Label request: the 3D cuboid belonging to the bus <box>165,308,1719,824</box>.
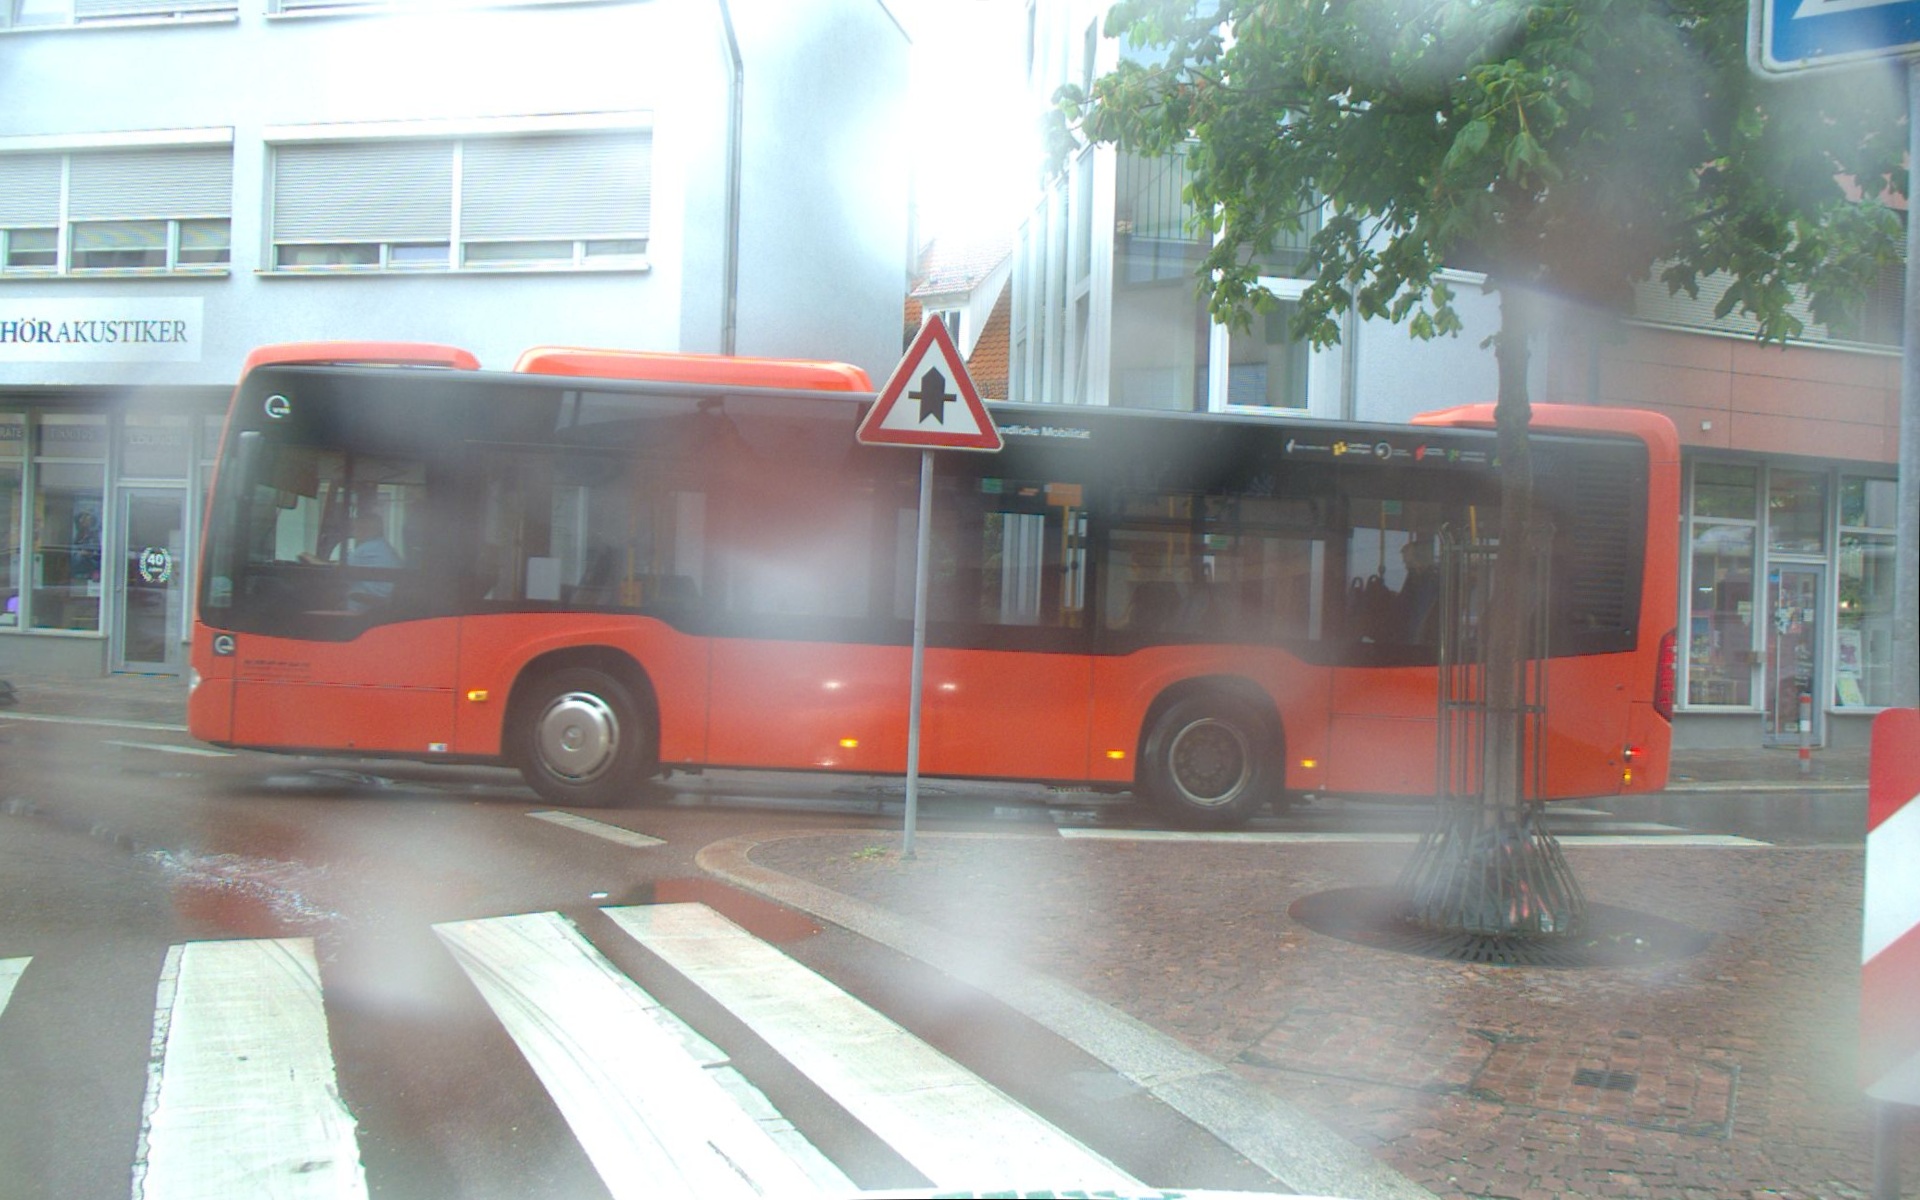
[{"bbox_3d":[-0.001,-0.140,12.491,10.365,3.143,2.819,2,-1,-5],"label":"bus"}]
